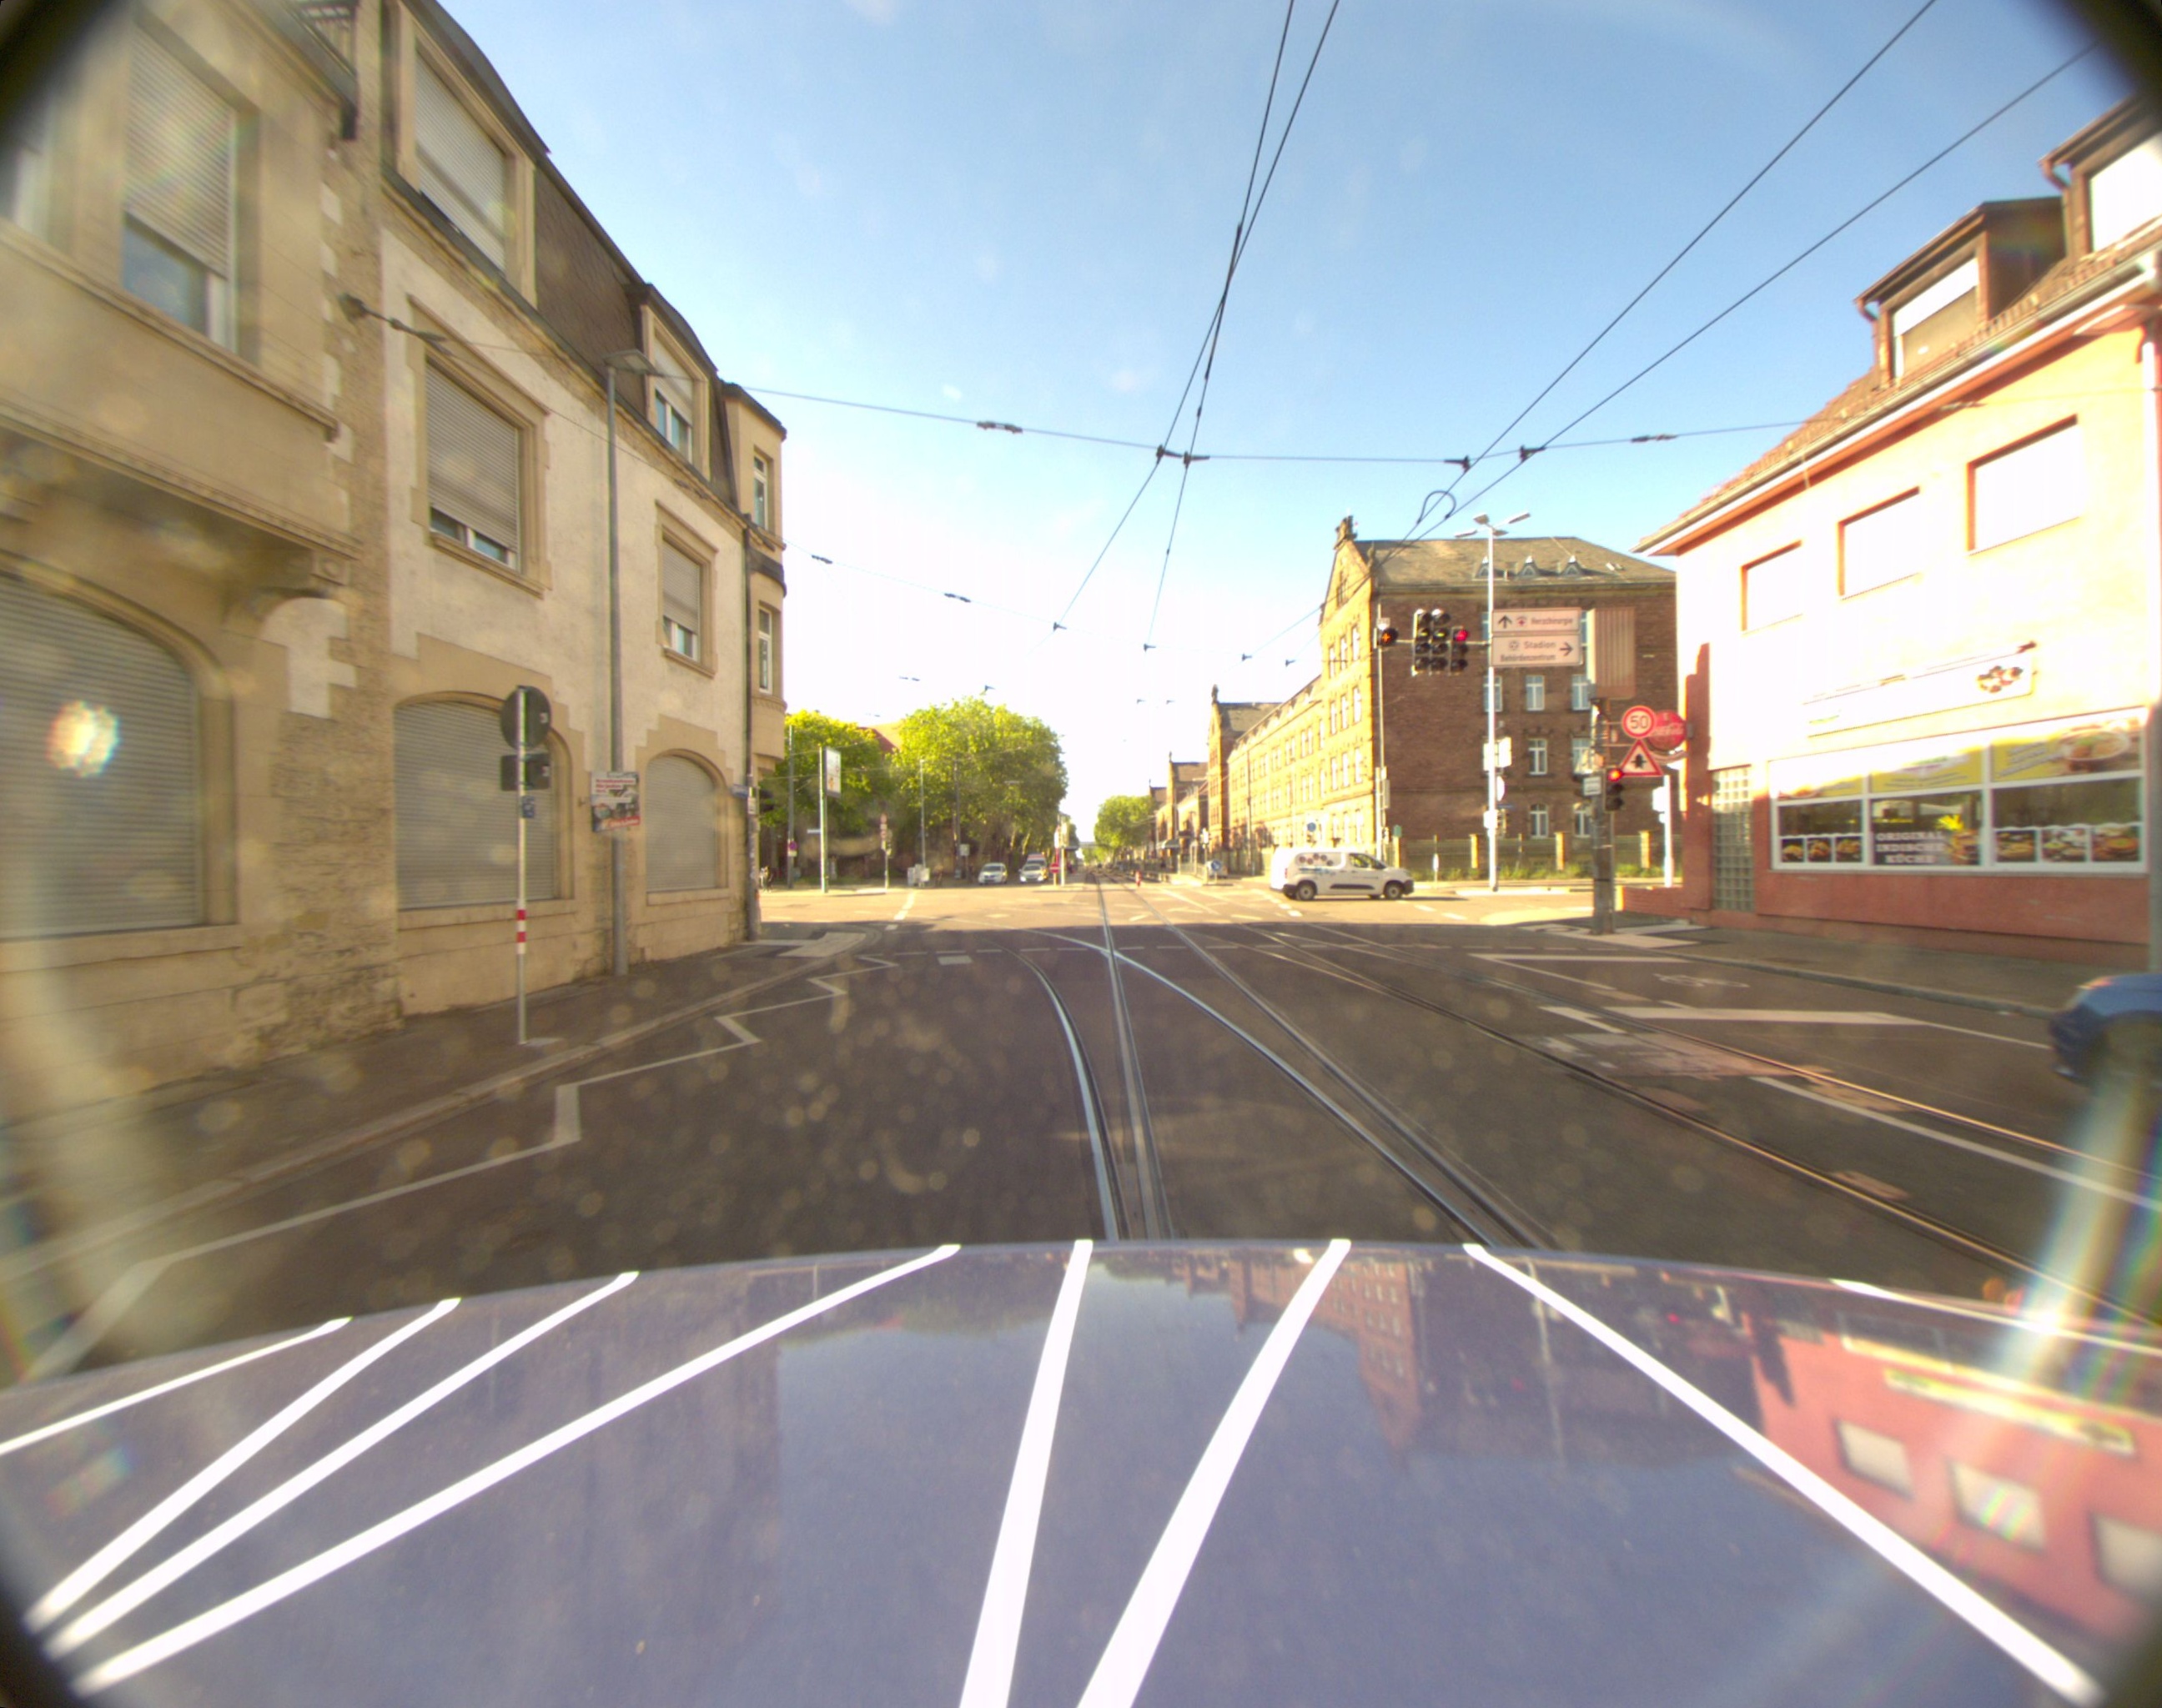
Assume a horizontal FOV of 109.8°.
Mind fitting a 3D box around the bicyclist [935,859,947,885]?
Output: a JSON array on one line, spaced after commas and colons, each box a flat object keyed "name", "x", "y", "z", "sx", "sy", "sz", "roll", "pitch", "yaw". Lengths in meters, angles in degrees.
[{"name": "bicyclist", "x": -9.449, "y": 1.199, "z": 51.213, "sx": 0.670, "sy": 1.718, "sz": 0.623, "roll": -1, "pitch": -2, "yaw": 0}]

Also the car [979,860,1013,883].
[{"name": "car", "x": -6.347, "y": 1.289, "z": 57.002, "sx": 1.911, "sy": 1.608, "sz": 4.572, "roll": -2, "pitch": -1, "yaw": 1}]

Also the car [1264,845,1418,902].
[{"name": "car", "x": 8.911, "y": 0.638, "z": 26.330, "sx": 4.694, "sy": 1.789, "sz": 1.857, "roll": -1, "pitch": 2, "yaw": 0}]

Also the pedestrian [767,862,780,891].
[{"name": "pedestrian", "x": -18.817, "y": 1.371, "z": 46.481, "sx": 0.670, "sy": 1.736, "sz": 0.485, "roll": -1, "pitch": 1, "yaw": -20}]

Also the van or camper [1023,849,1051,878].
[{"name": "van or camper", "x": -3.789, "y": 0.887, "z": 66.767, "sx": 1.998, "sy": 2.346, "sz": 5.600, "roll": -1, "pitch": -2, "yaw": 1}]

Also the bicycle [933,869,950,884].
[{"name": "bicycle", "x": -9.434, "y": 1.544, "z": 51.452, "sx": 0.690, "sy": 1.027, "sz": 2.100, "roll": -1, "pitch": -2, "yaw": 1}]

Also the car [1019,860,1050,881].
[{"name": "car", "x": -3.525, "y": 1.242, "z": 58.311, "sx": 1.984, "sy": 1.539, "sz": 4.035, "roll": -1, "pitch": -1, "yaw": 2}]

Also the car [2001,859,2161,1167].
[{"name": "car", "x": 6.260, "y": 0.820, "z": 2.545, "sx": 1.687, "sy": 1.558, "sz": 3.929, "roll": 1, "pitch": 0, "yaw": 3}]

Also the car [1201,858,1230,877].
[{"name": "car", "x": 11.031, "y": 1.084, "z": 62.593, "sx": 1.740, "sy": 1.434, "sz": 4.116, "roll": -1, "pitch": 0, "yaw": 2}]
